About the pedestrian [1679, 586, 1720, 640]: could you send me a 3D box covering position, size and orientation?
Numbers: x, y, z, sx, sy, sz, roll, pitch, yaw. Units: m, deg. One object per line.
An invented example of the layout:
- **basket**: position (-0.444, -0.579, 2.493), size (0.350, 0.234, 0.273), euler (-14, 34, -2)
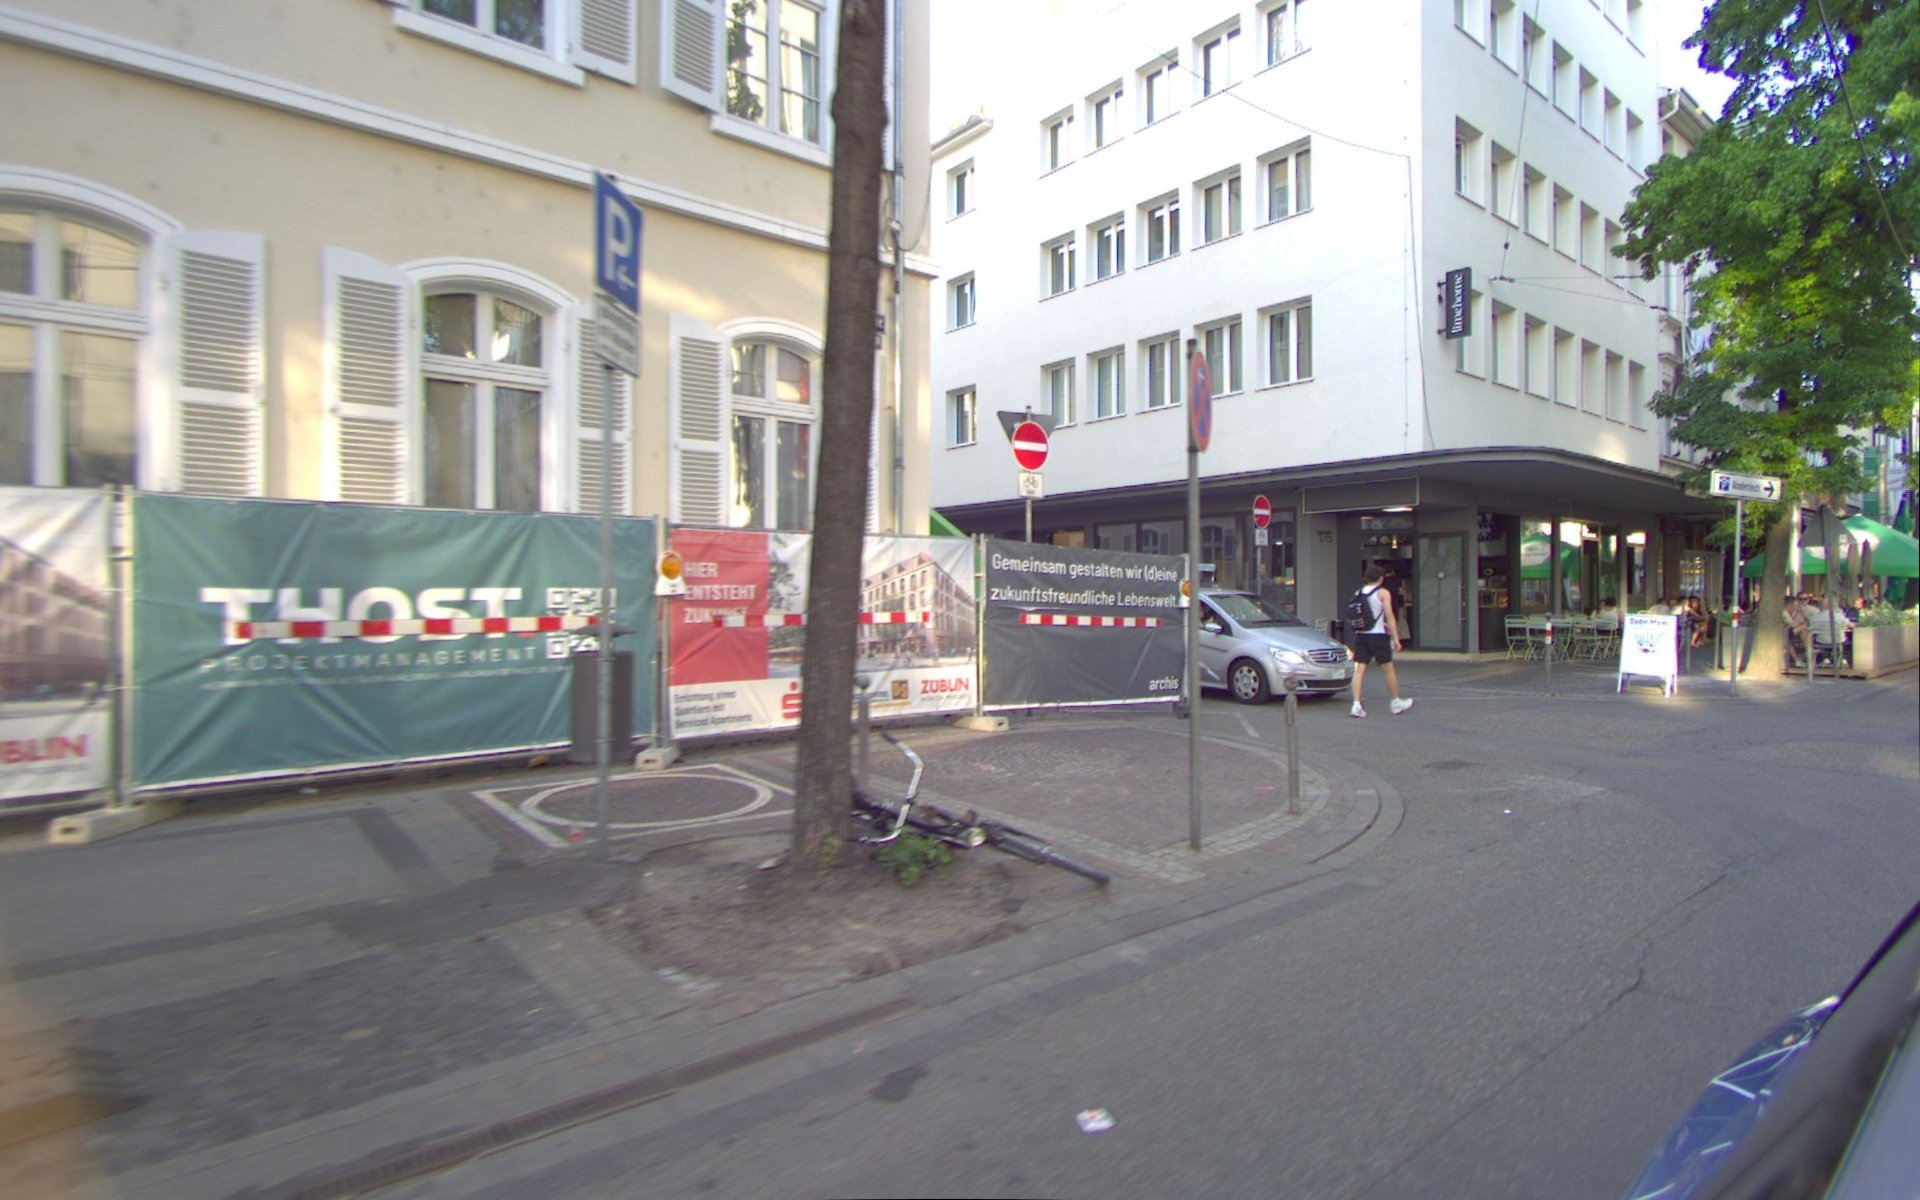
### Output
- **pedestrian**: position (18.972, 0.321, 25.976), size (0.612, 1.346, 0.716), euler (0, 0, -38)

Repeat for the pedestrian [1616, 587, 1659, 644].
- **pedestrian**: position (16.315, 0.372, 24.375), size (0.612, 1.346, 0.716), euler (0, 0, -38)

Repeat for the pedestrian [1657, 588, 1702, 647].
- **pedestrian**: position (16.861, 0.394, 23.720), size (0.612, 1.346, 0.716), euler (0, 0, -38)

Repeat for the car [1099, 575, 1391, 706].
- **car**: position (4.071, 0.489, 15.033), size (1.831, 1.628, 3.945), euler (-2, 2, -32)

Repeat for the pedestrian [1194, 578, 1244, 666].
- **pedestrian**: position (5.017, 0.413, 19.606), size (0.702, 1.657, 0.625), euler (0, 0, -22)

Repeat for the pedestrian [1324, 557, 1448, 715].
- **pedestrian**: position (5.267, 0.408, 12.534), size (1.050, 1.837, 0.946), euler (-2, 1, -32)

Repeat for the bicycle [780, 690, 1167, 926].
- **bicycle**: position (-0.031, 0.996, 5.478), size (1.531, 0.757, 1.761), euler (0, 2, -22)

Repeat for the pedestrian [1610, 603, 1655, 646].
- **pedestrian**: position (15.298, 0.548, 23.022), size (0.612, 0.944, 0.716), euler (0, 0, -38)

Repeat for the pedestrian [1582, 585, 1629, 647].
- **pedestrian**: position (14.304, 0.350, 22.419), size (0.612, 1.346, 0.716), euler (0, 0, -38)

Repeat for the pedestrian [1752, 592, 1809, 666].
- **pedestrian**: position (15.226, 0.520, 18.777), size (0.612, 1.346, 0.716), euler (0, 0, -38)

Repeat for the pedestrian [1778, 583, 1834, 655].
- **pedestrian**: position (16.178, 0.358, 19.348), size (0.612, 1.346, 0.716), euler (0, 0, -38)

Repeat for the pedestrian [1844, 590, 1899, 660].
- **pedestrian**: position (18.058, 0.477, 20.052), size (0.612, 1.346, 0.716), euler (0, 0, -38)

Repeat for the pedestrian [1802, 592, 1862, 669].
- **pedestrian**: position (15.669, 0.526, 18.178), size (0.612, 1.346, 0.716), euler (0, 0, -38)

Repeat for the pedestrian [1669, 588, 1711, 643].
- **pedestrian**: position (18.278, 0.384, 25.343), size (0.612, 1.346, 0.716), euler (0, 0, -38)

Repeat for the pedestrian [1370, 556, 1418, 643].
- **pedestrian**: position (9.122, -0.010, 21.265), size (0.702, 1.788, 0.625), euler (0, 0, -8)

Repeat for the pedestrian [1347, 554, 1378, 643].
- **pedestrian**: position (8.951, -0.044, 22.509), size (0.565, 1.933, 0.717), euler (0, 0, 29)

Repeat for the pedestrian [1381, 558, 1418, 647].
- **pedestrian**: position (9.676, 0.051, 22.282), size (0.716, 1.933, 0.566), euler (0, 0, 22)
